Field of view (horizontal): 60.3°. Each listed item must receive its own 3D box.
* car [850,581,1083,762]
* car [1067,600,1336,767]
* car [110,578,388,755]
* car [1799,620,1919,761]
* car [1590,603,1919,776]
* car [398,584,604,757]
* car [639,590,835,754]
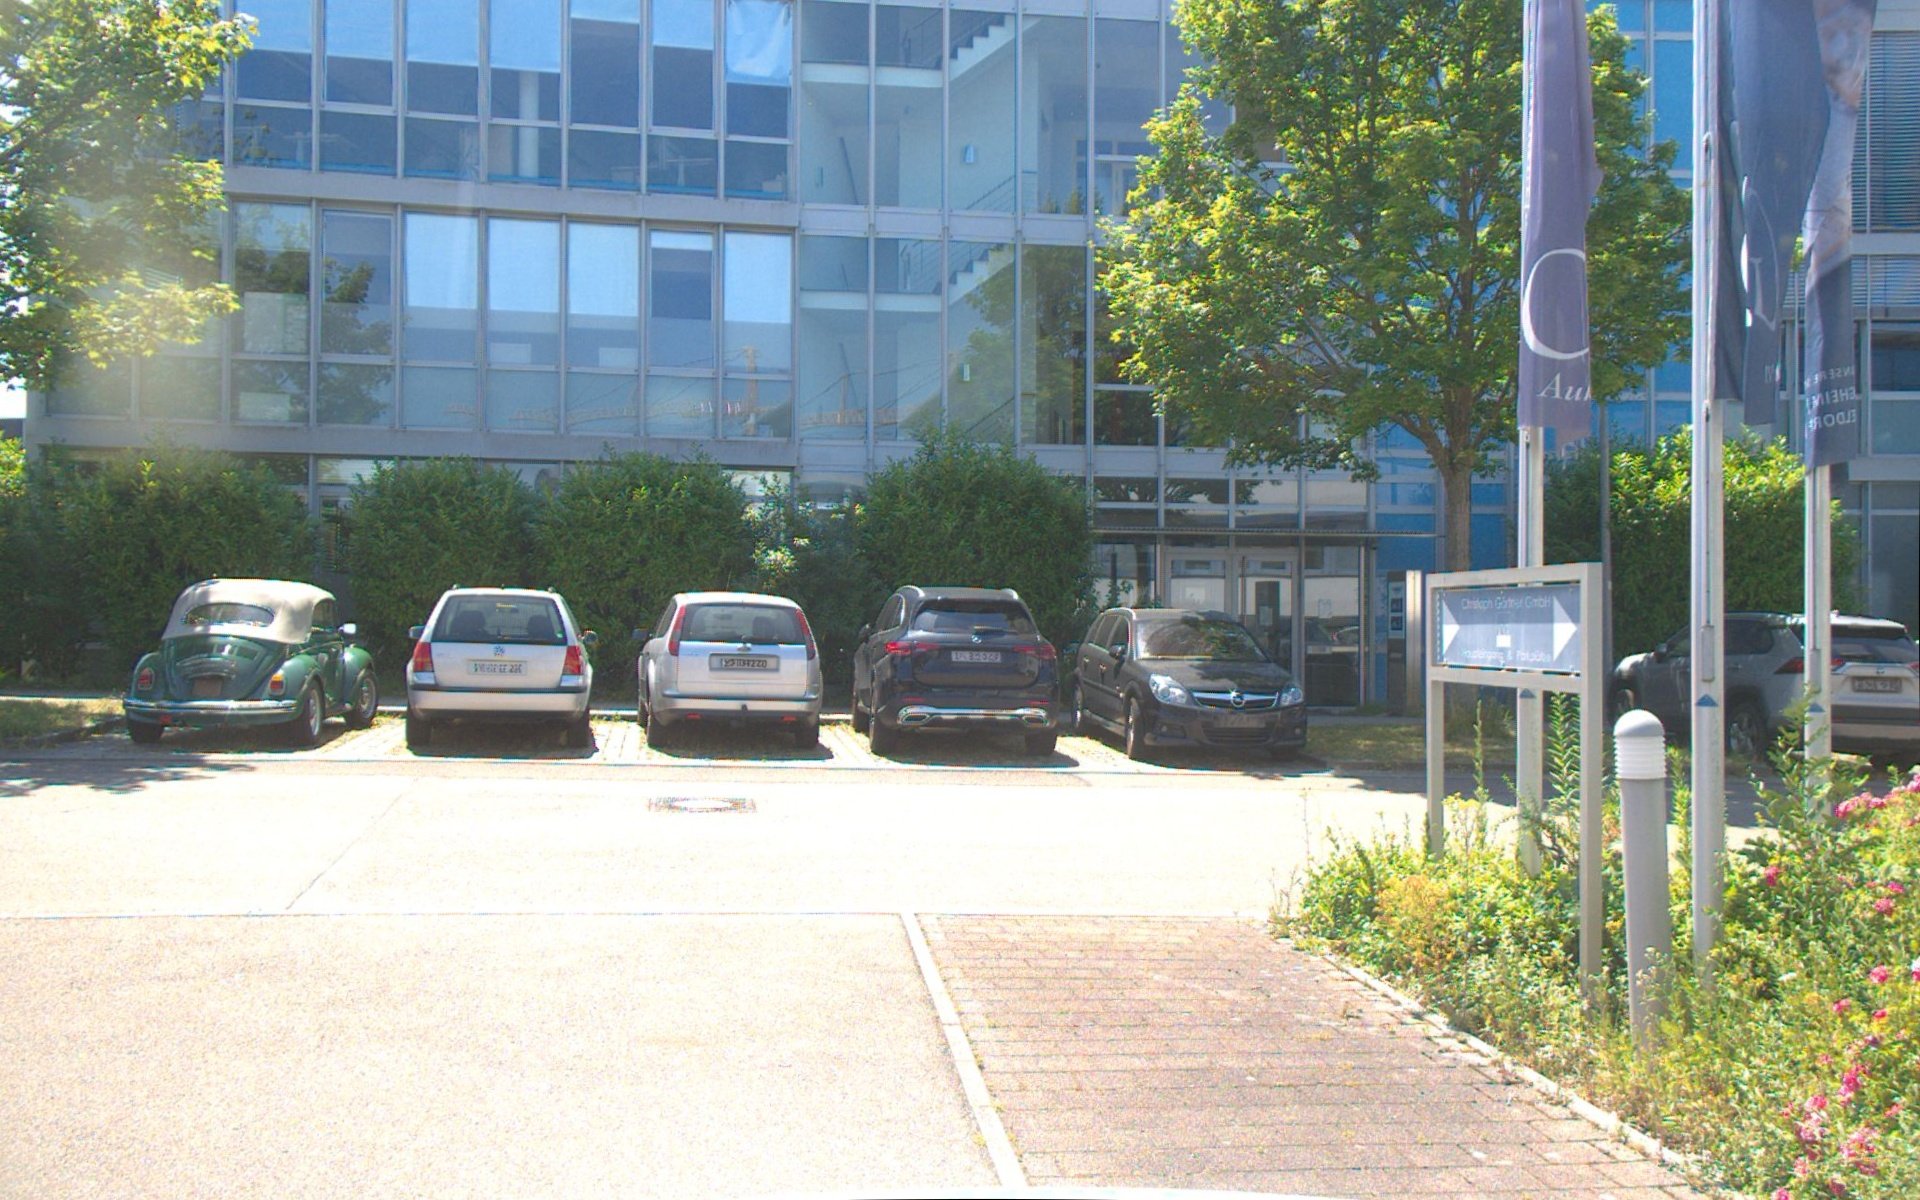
[{"bbox_3d":[-0.060,0.659,17.504,1.891,1.639,3.979,2,0,-8],"label":"car"},{"bbox_3d":[2.428,0.794,17.715,1.736,1.508,4.251,1,1,-8],"label":"car"},{"bbox_3d":[-6.671,0.549,15.903,1.513,1.474,3.647,2,0,-8],"label":"car"},{"bbox_3d":[11.576,1.064,18.520,1.703,1.518,4.332,2,0,-8],"label":"car"},{"bbox_3d":[9.066,0.904,18.683,1.785,1.648,4.332,1,1,-8],"label":"car"},{"bbox_3d":[-4.448,0.616,16.469,1.701,1.474,3.643,2,0,-12],"label":"car"},{"bbox_3d":[-2.436,0.674,17.363,1.734,1.474,3.643,2,0,-12],"label":"car"}]
